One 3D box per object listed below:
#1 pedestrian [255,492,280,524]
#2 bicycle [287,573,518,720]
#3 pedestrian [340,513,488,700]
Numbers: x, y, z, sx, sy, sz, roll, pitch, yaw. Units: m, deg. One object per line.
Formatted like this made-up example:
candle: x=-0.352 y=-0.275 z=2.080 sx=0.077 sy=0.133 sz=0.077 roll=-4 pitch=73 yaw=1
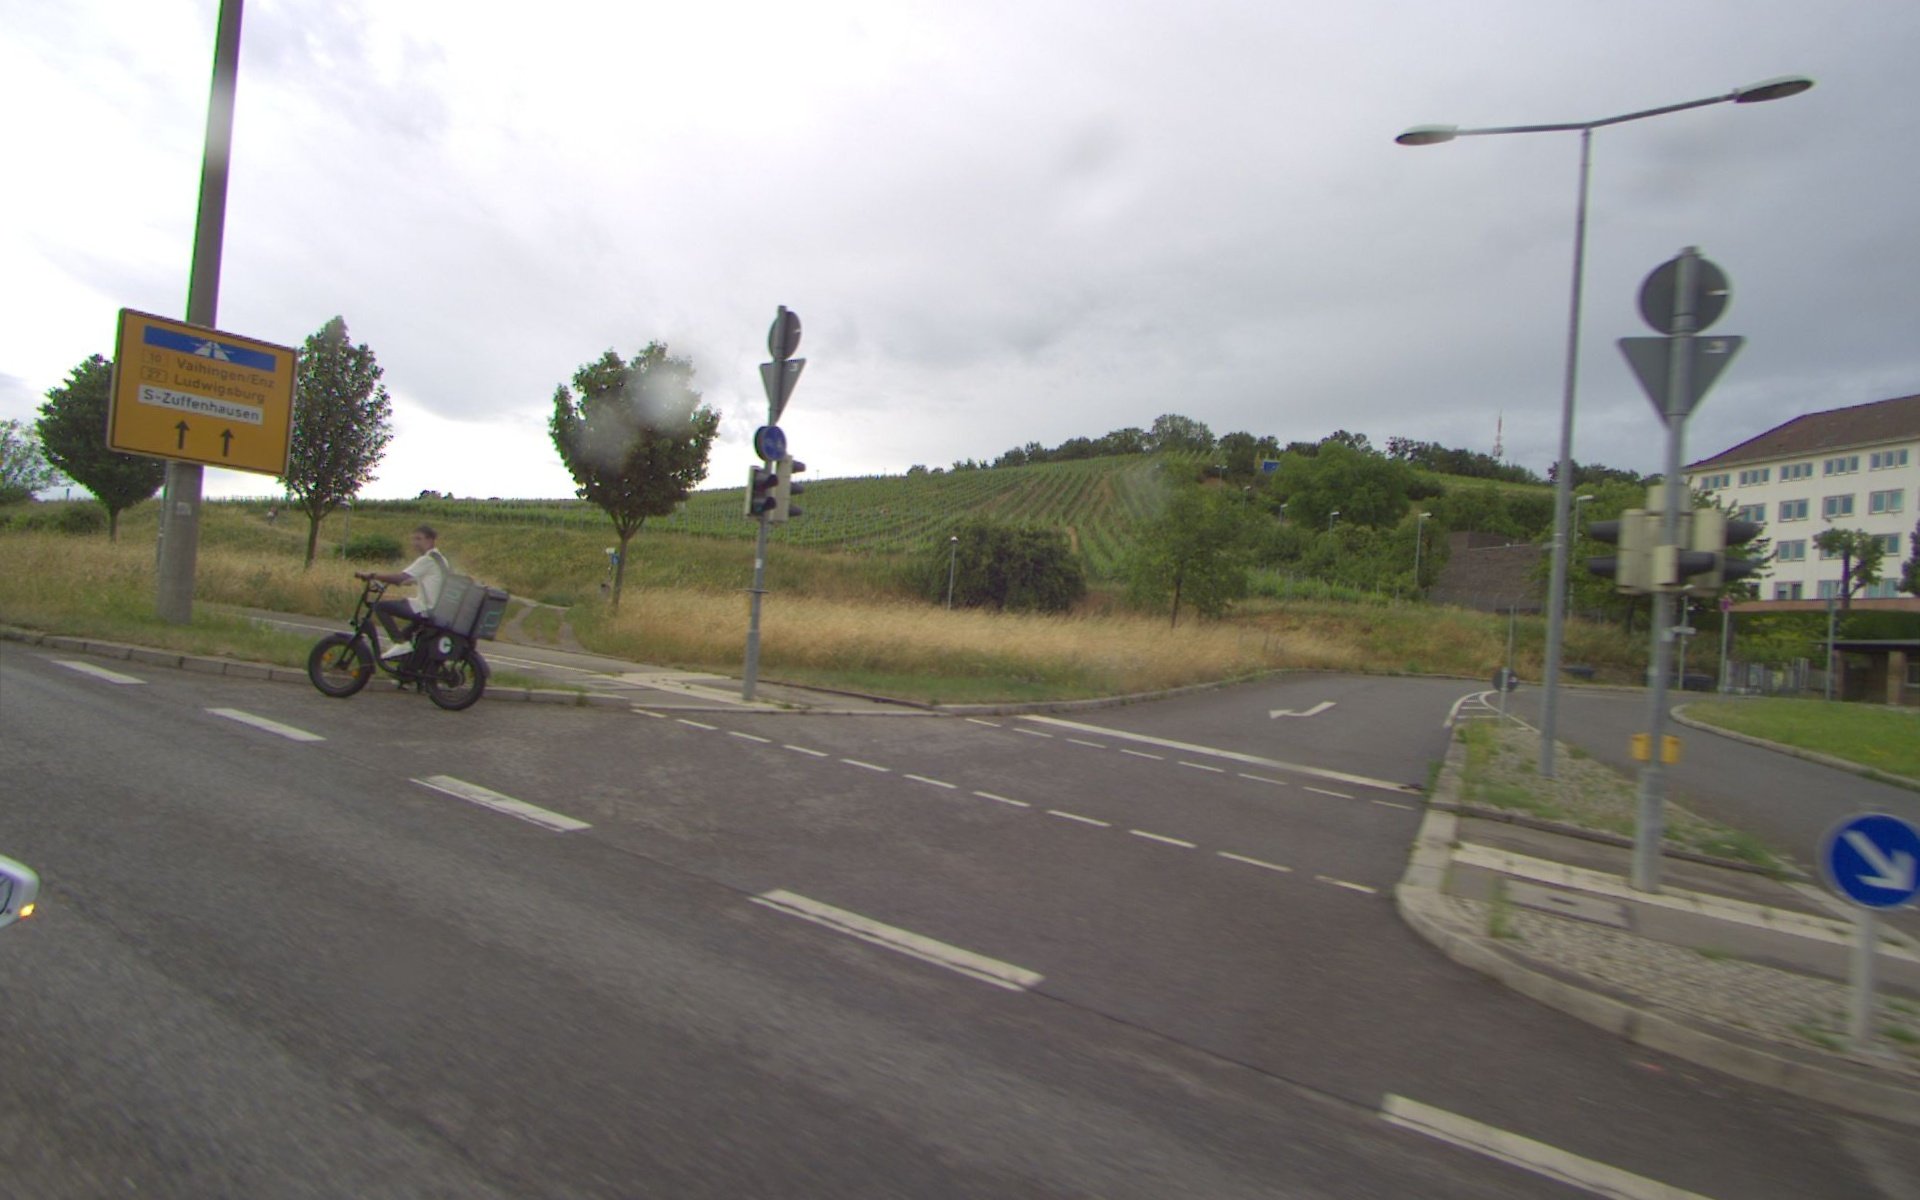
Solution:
pedestrian: x=-48.304 y=-6.398 z=70.162 sx=1.036 sy=2.039 sz=0.780 roll=6 pitch=1 yaw=-2
bicycle: x=-5.202 y=0.422 z=9.444 sx=1.720 sy=1.119 sz=0.634 roll=7 pitch=1 yaw=2
pedestrian: x=-5.094 y=0.061 z=9.427 sx=0.879 sy=1.590 sz=0.634 roll=7 pitch=1 yaw=2
